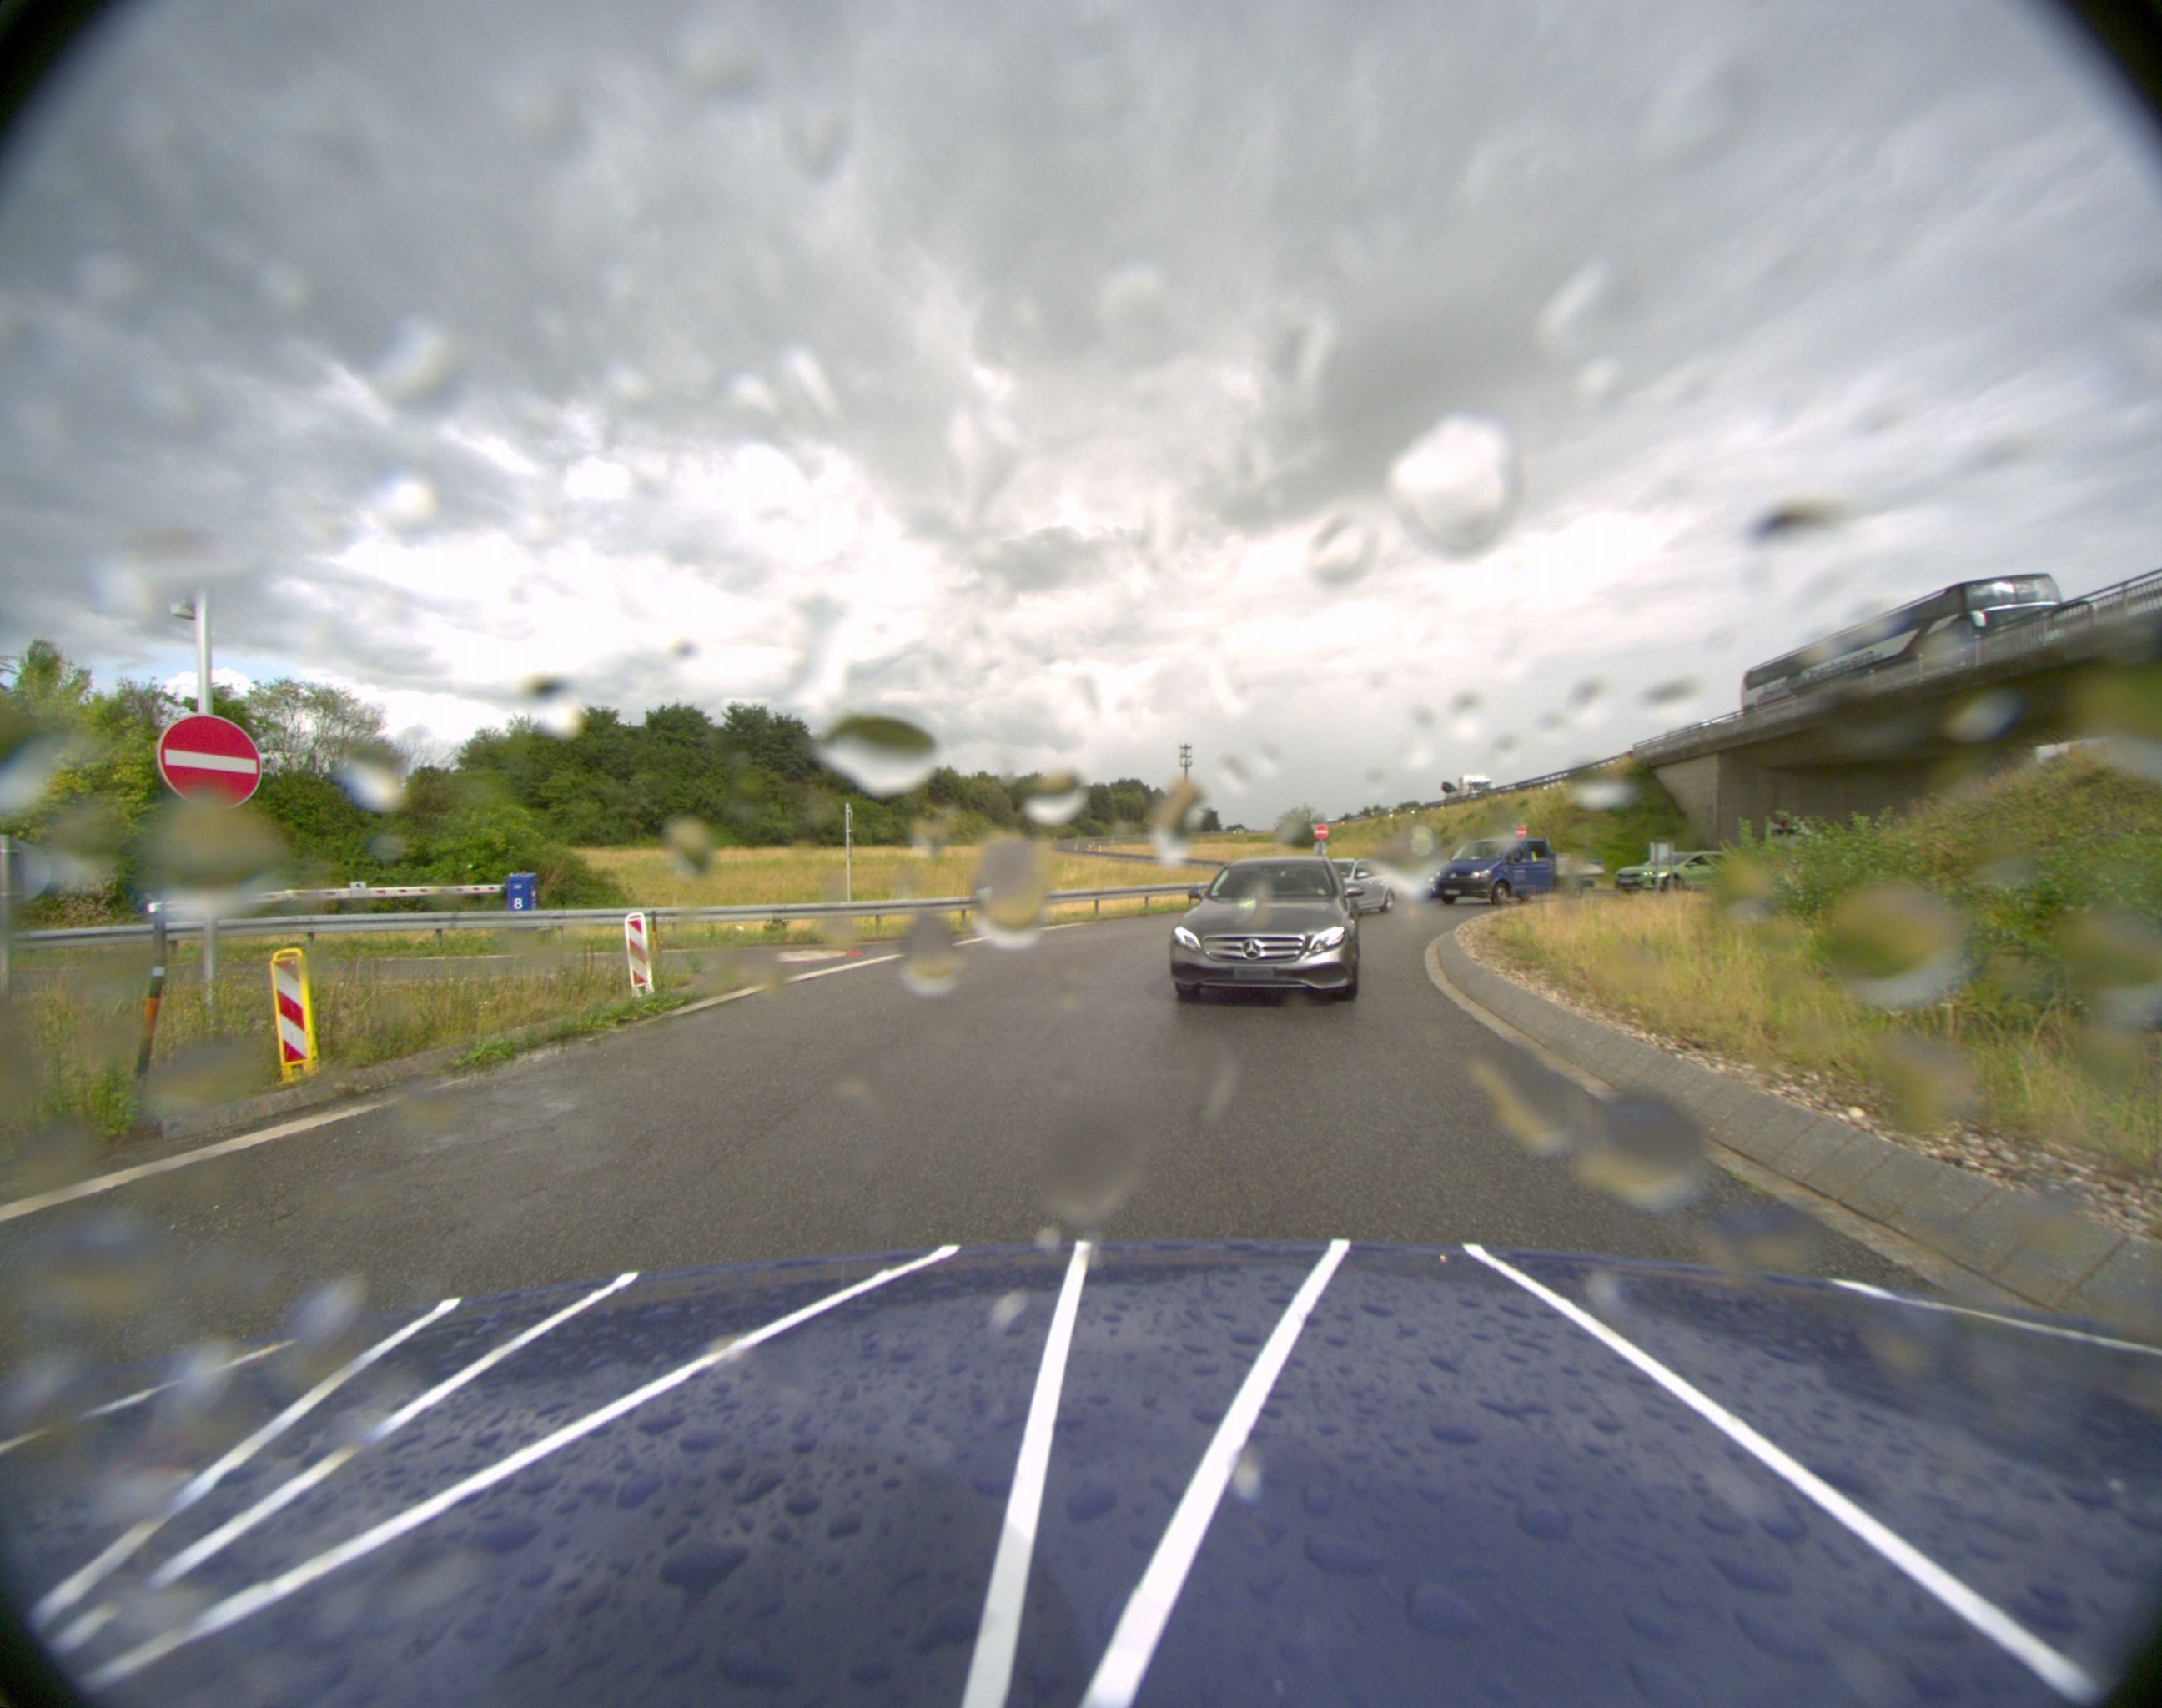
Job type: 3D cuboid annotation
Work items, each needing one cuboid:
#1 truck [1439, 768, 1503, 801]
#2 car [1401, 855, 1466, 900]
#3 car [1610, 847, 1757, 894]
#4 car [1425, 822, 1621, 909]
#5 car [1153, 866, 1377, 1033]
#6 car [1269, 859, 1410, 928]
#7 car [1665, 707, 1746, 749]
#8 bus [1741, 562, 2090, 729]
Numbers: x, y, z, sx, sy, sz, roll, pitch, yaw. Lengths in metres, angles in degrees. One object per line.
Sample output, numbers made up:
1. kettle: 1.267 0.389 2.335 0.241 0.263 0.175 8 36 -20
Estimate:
1. truck: 46.855 -8.274 91.765 3.158 3.176 9.279 -2 1 2
2. car: 12.408 0.771 26.937 1.771 1.476 3.839 0 0 20
3. car: 20.364 0.536 25.748 3.928 1.528 1.571 0 1 -7
4. car: 13.214 0.305 22.672 5.686 1.904 1.890 -6 1 -23
5. car: 2.460 0.895 9.094 1.767 1.383 4.599 -2 -1 24
6. car: 6.465 0.876 18.750 1.793 1.390 4.358 1 1 40
7. car: 37.107 -7.461 45.298 1.711 1.517 4.497 -12 -2 14
8. bus: 32.621 -7.782 31.222 2.608 3.062 14.480 -2 1 17
